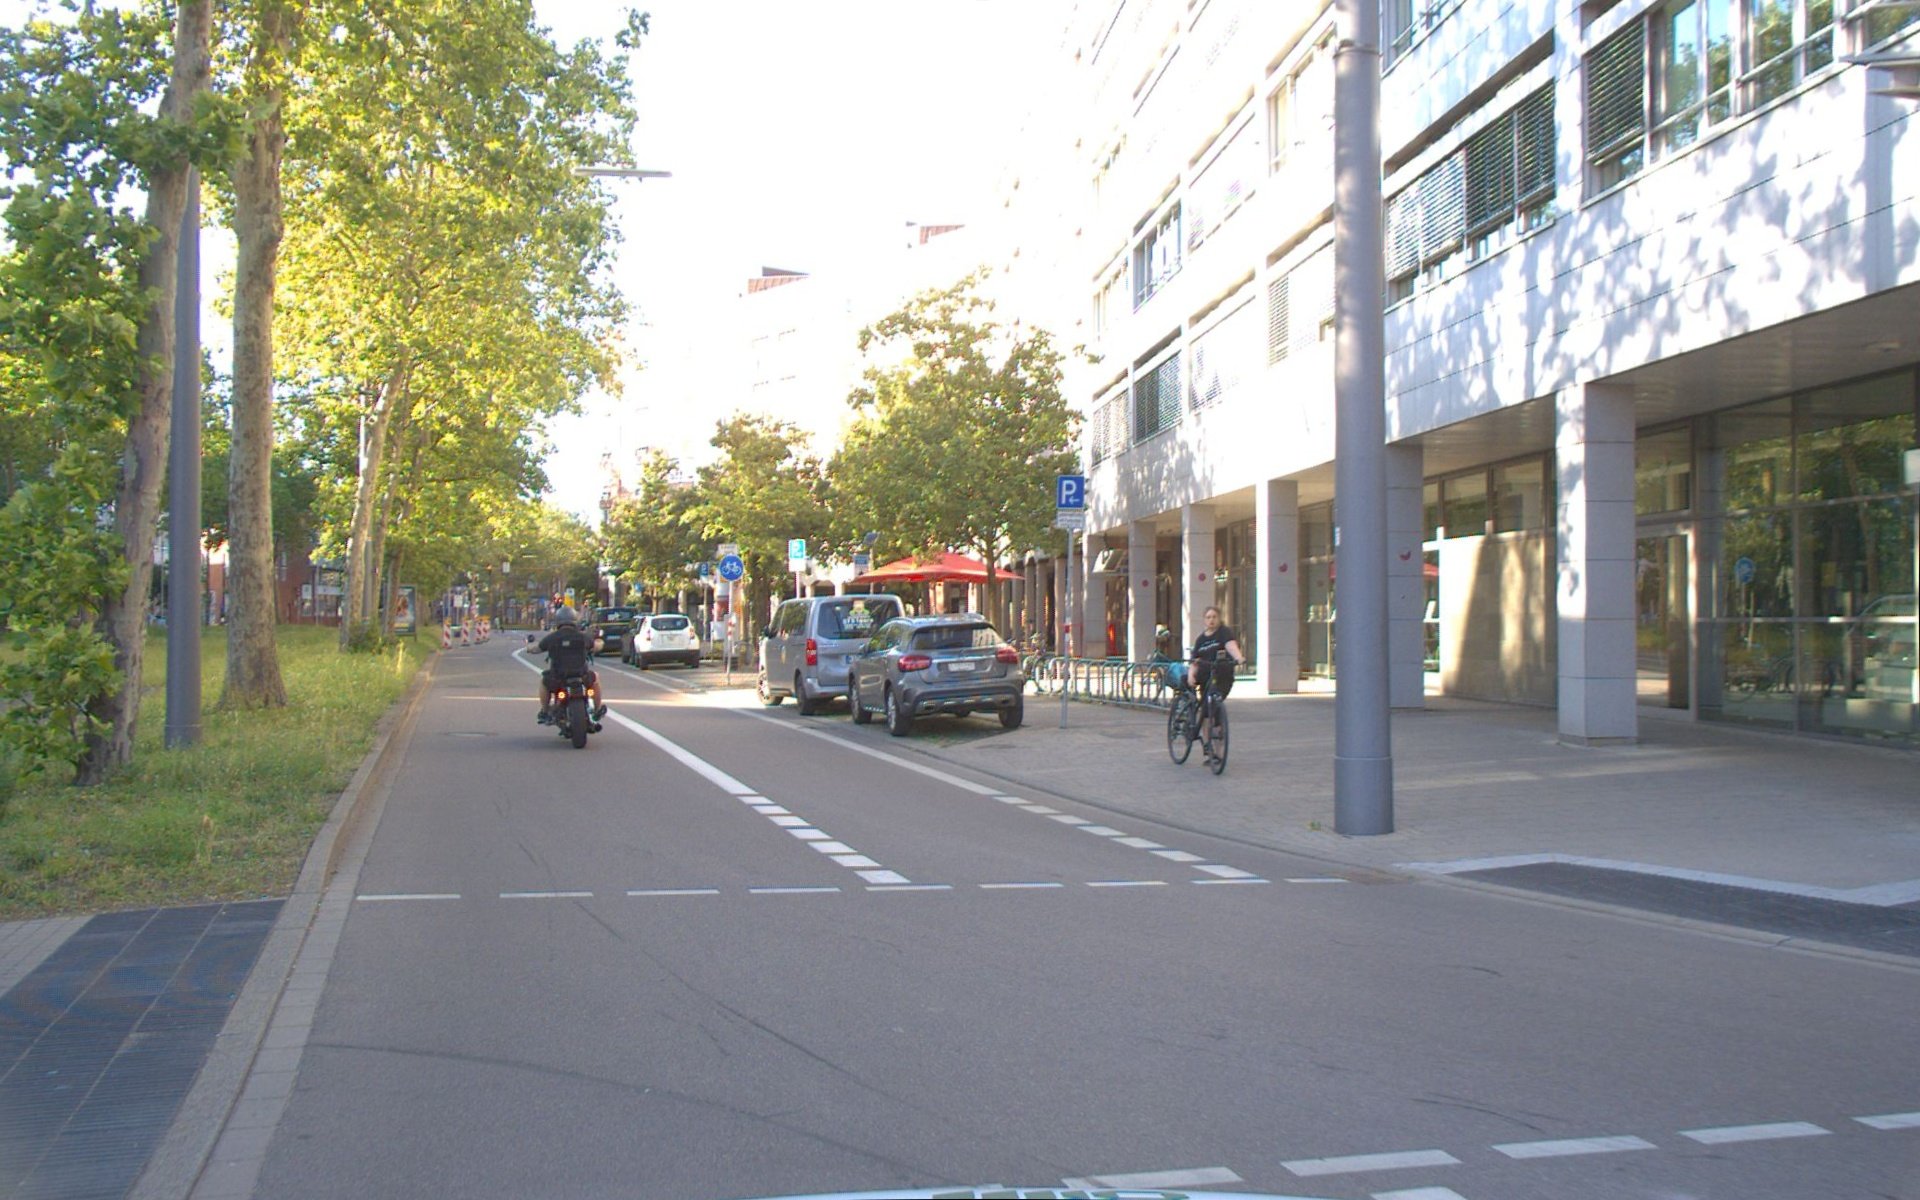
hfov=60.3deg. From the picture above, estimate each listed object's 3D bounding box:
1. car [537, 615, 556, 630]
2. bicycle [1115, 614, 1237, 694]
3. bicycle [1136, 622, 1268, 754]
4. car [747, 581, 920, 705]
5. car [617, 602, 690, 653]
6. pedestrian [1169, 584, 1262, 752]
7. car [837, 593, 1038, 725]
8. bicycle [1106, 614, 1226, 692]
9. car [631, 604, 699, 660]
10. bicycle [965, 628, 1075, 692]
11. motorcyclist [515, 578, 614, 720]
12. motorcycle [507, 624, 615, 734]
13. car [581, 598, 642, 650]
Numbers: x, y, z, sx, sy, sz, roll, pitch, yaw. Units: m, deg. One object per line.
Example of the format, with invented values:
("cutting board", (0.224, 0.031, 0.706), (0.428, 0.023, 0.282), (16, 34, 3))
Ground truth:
("car", (-48.474, 2.575, 193.891), (1.958, 1.736, 3.989), (0, -1, -11))
("bicycle", (3.327, 0.826, 25.488), (1.800, 1.172, 0.469), (-1, 0, -12))
("bicycle", (2.411, 0.854, 16.698), (0.601, 1.184, 1.841), (-3, 1, -15))
("car", (-2.292, 0.702, 28.501), (1.892, 1.875, 4.900), (-2, 0, -17))
("car", (-10.581, 0.937, 56.898), (1.956, 1.657, 4.064), (-1, -1, -18))
("pedestrian", (2.602, 0.673, 16.877), (0.595, 1.639, 0.834), (-3, 1, -15))
("car", (-0.435, 0.768, 23.209), (1.828, 1.600, 4.398), (-2, 0, -14))
("bicycle", (3.230, 0.821, 25.955), (1.800, 1.172, 0.469), (-1, 0, -12))
("car", (-9.175, 0.982, 51.170), (1.828, 1.667, 3.853), (0, -1, -14))
("bicycle", (1.082, 1.070, 29.844), (1.839, 1.120, 0.736), (1, -1, -21))
("motorcyclist", (-4.596, 0.535, 19.171), (1.007, 1.579, 1.279), (0, 0, -19))
("motorcycle", (-4.702, 0.881, 19.368), (0.991, 1.145, 2.309), (0, 0, -20))
("car", (-14.271, 0.955, 67.643), (1.998, 2.011, 4.392), (-1, 0, -18))
